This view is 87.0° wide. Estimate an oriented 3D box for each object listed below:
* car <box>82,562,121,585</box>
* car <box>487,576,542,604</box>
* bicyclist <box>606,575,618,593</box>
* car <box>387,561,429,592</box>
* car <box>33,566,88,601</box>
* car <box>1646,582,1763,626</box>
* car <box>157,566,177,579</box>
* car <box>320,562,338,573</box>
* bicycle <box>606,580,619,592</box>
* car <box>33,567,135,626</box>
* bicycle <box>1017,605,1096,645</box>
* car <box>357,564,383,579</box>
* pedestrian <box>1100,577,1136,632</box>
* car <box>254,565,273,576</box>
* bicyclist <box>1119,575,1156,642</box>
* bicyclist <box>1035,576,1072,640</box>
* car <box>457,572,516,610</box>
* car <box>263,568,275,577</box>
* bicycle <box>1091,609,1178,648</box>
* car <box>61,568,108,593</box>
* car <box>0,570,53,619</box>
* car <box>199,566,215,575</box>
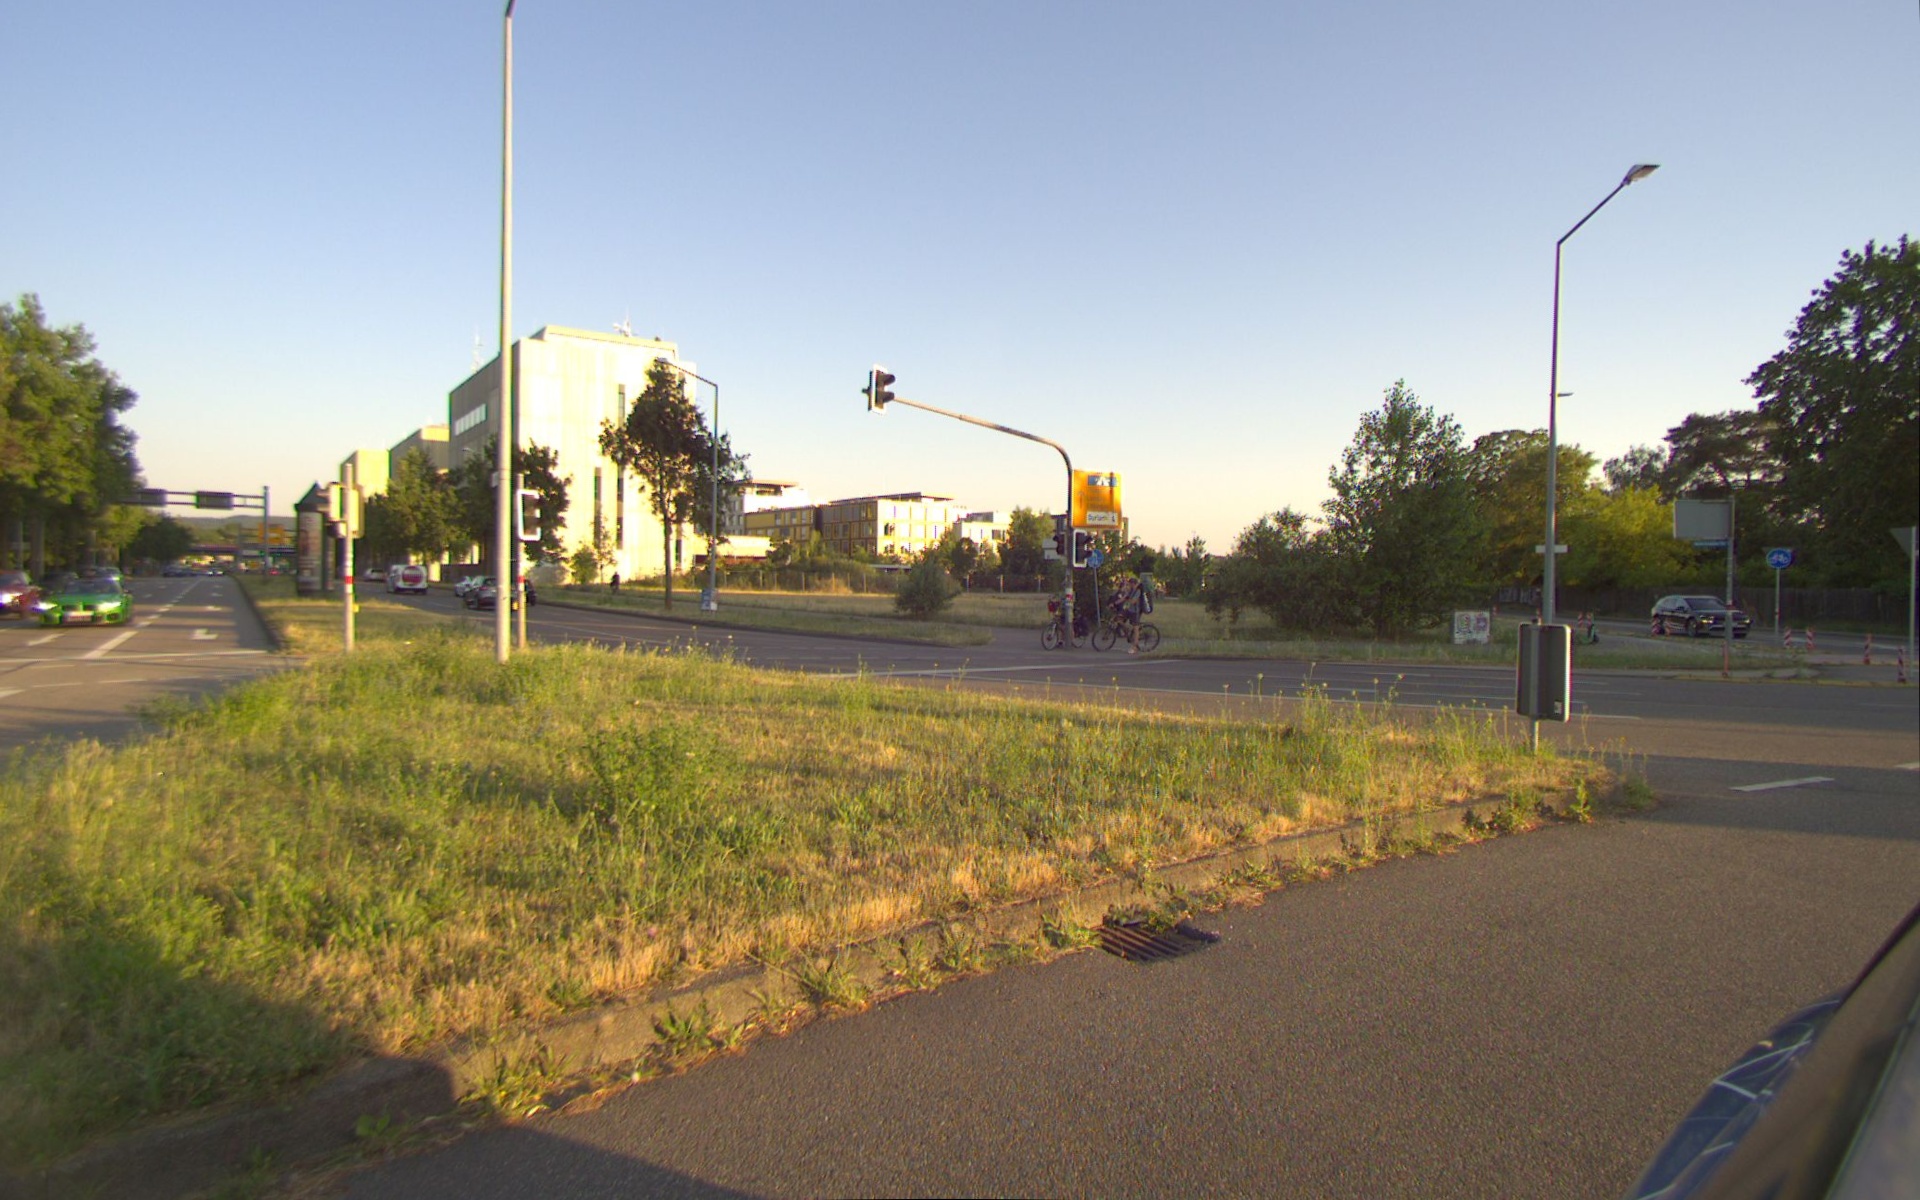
[{"bbox_3d":[-57.662,-1.763,67.979,1.836,1.472,3.963,0,1,-43],"label":"car"},{"bbox_3d":[-24.357,-0.551,55.217,1.962,1.445,4.198,0,1,-35],"label":"car"},{"bbox_3d":[-24.202,-1.111,70.372,0.606,1.272,0.735,0,1,-34],"label":"bicyclist"},{"bbox_3d":[-37.357,-1.599,68.385,2.029,1.971,4.962,0,1,-34],"label":"car"},{"bbox_3d":[-44.538,-0.853,50.080,1.836,1.407,4.155,6,-1,-43],"label":"car"},{"bbox_3d":[29.822,0.119,40.704,1.967,1.617,4.304,1,1,9],"label":"car"},{"bbox_3d":[-106.081,-3.706,135.396,1.880,1.603,4.179,0,1,-37],"label":"car"},{"bbox_3d":[-95.063,-4.898,152.490,1.963,1.593,3.998,0,1,-37],"label":"car"},{"bbox_3d":[-24.171,-0.989,70.374,0.487,0.837,1.515,0,1,-35],"label":"bicycle"},{"bbox_3d":[-25.749,-0.152,29.888,1.963,1.599,4.484,0,1,-37],"label":"car"},{"bbox_3d":[2.605,0.662,27.353,2.065,0.975,0.711,-2,2,-27],"label":"bicycle"},{"bbox_3d":[-63.231,-3.046,108.400,1.962,1.528,5.186,0,1,-35],"label":"car"},{"bbox_3d":[4.813,0.120,30.746,0.977,1.610,0.923,1,1,14],"label":"pedestrian"},{"bbox_3d":[-96.842,-4.131,140.699,1.963,1.524,4.111,0,1,-36],"label":"car"},{"bbox_3d":[4.605,0.212,26.269,0.674,1.711,0.727,1,1,-13],"label":"bicyclist"},{"bbox_3d":[2.519,0.211,27.334,0.675,1.711,0.726,0,1,-29],"label":"bicyclist"},{"bbox_3d":[-21.634,-0.447,46.150,1.961,1.649,4.003,0,1,-32],"label":"car"},{"bbox_3d":[-135.174,-5.348,198.028,1.962,1.805,4.001,0,1,-35],"label":"car"},{"bbox_3d":[4.532,0.735,26.248,2.100,0.975,0.711,1,1,-15],"label":"bicycle"},{"bbox_3d":[-52.534,-1.183,60.810,1.833,1.472,4.161,0,1,-37],"label":"car"},{"bbox_3d":[-32.857,-0.234,34.746,1.961,1.593,4.417,0,1,-34],"label":"car"},{"bbox_3d":[-120.297,-4.707,161.755,1.963,1.524,4.771,0,1,-36],"label":"car"}]
